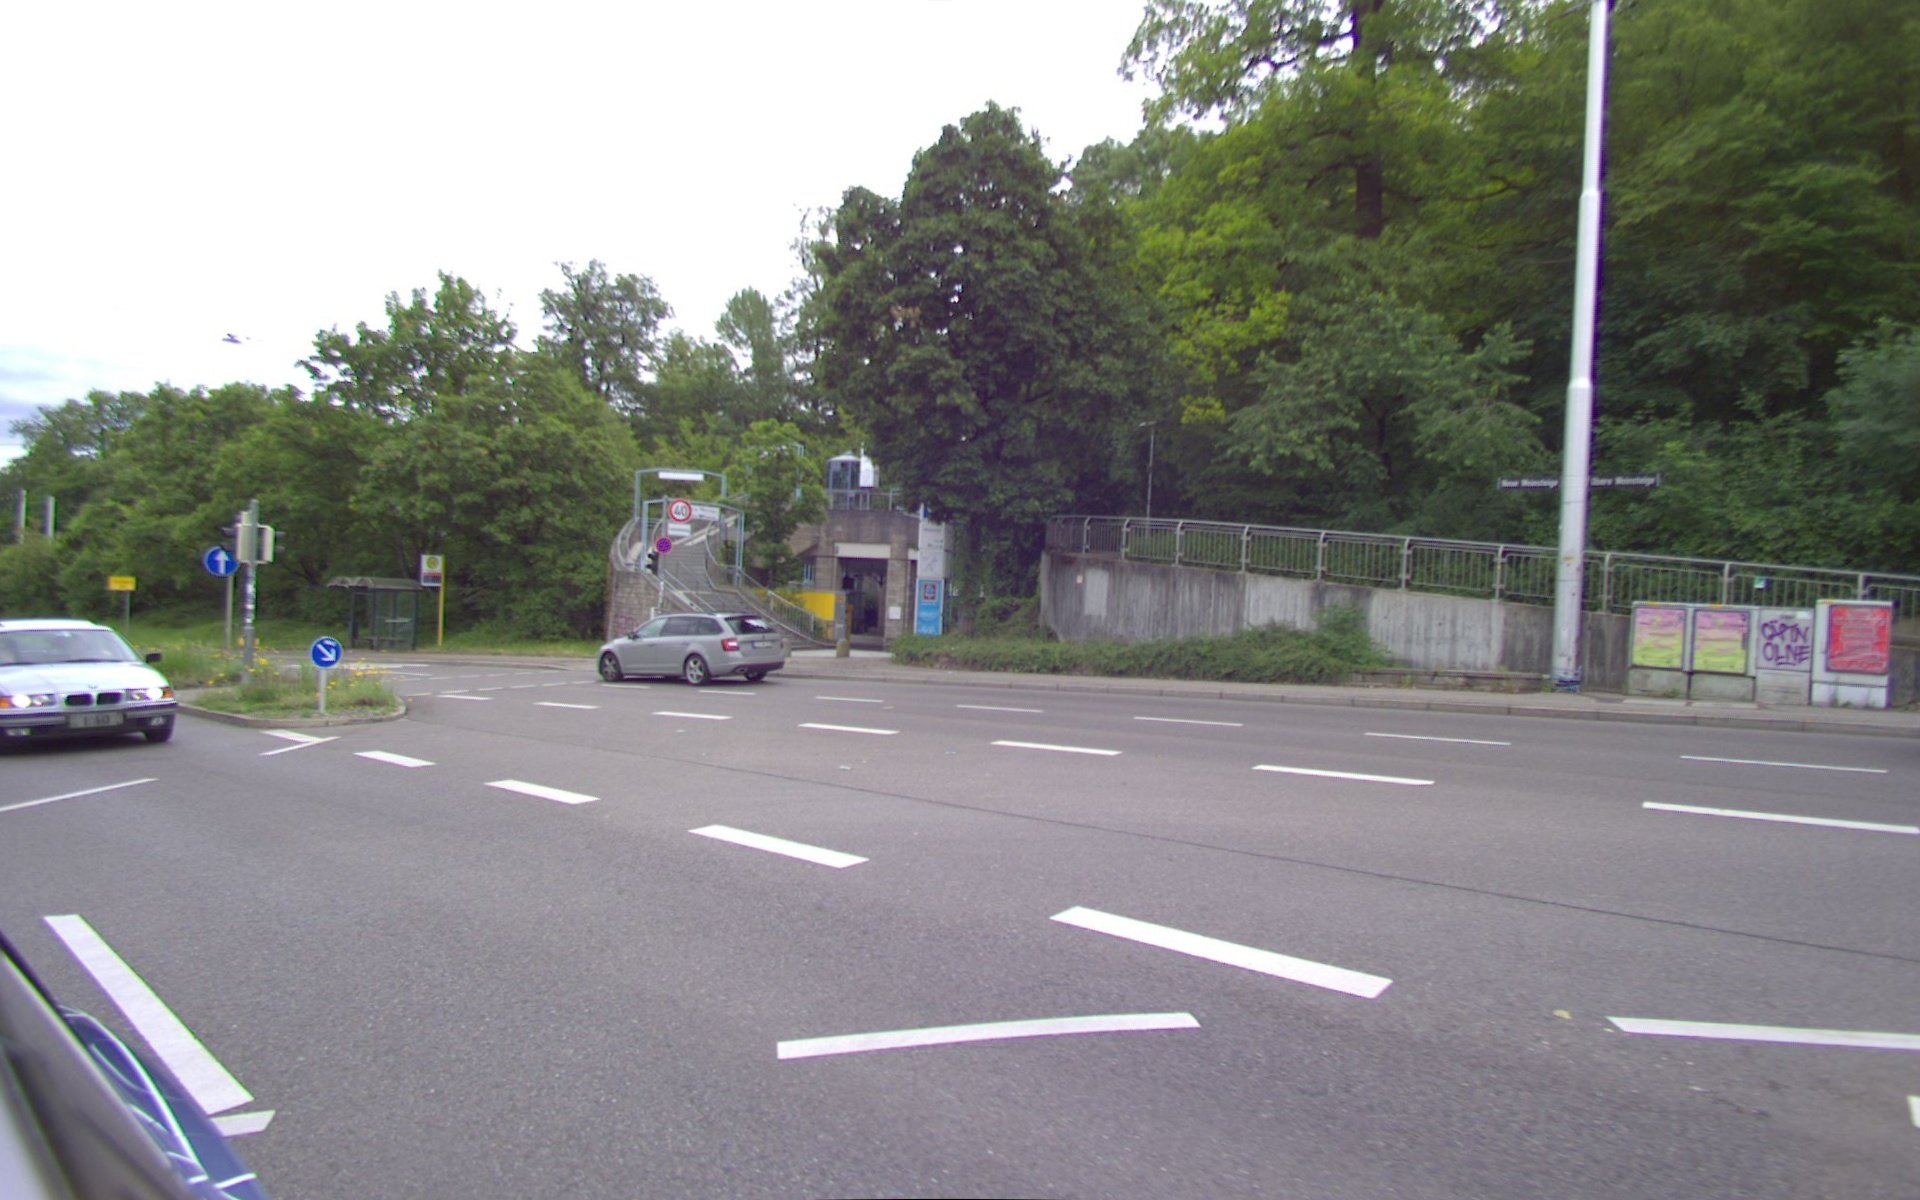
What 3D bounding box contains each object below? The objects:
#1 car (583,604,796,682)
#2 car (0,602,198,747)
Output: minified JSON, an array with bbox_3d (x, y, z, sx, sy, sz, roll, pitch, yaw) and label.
[{"bbox_3d":[-5.650,0.846,20.912,4.553,1.460,1.638,-1,-1,33],"label":"car"},{"bbox_3d":[-10.634,0.763,11.878,4.611,1.404,1.735,-1,-1,40],"label":"car"}]
